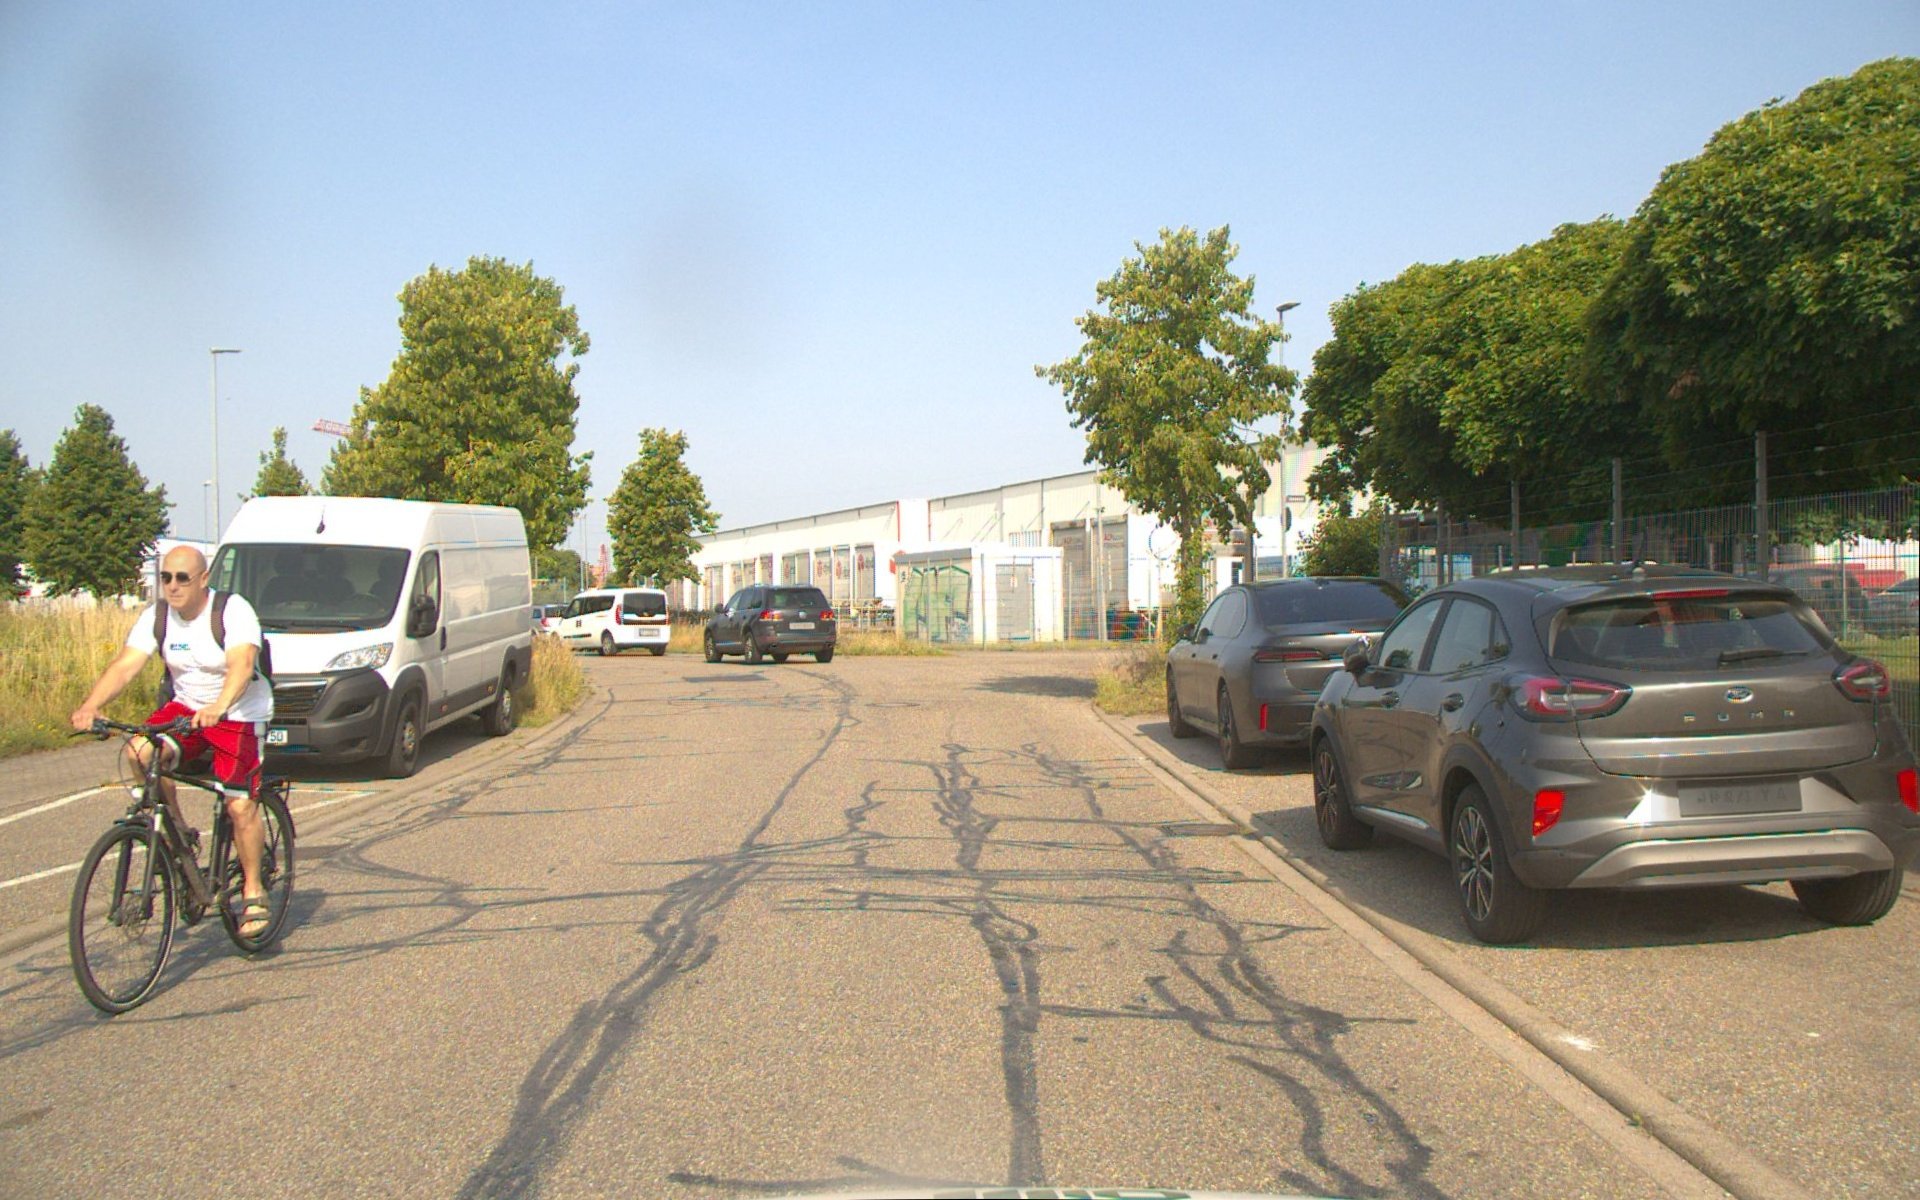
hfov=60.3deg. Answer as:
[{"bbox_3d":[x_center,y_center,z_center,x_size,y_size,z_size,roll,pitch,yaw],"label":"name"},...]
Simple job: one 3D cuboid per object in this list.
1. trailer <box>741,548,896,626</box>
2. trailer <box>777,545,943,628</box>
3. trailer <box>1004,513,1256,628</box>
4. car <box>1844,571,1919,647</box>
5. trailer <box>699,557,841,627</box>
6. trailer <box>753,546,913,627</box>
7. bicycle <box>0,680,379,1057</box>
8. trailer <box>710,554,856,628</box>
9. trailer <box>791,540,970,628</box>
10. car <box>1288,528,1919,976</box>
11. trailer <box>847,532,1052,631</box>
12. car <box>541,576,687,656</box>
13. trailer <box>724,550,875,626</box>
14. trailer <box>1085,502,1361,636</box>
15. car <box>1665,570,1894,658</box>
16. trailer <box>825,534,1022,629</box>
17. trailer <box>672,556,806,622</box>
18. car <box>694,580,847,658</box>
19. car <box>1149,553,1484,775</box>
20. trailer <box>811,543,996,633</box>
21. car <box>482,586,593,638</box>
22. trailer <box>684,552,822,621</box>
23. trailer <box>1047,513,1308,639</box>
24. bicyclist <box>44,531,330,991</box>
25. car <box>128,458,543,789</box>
[{"bbox_3d":[-7.620,-0.646,89.155,7.861,3.962,2.754,1,0,-25],"label":"trailer"},{"bbox_3d":[-5.048,-0.662,83.783,7.930,3.962,2.754,1,0,-25],"label":"trailer"},{"bbox_3d":[6.011,-0.972,58.106,8.619,3.827,2.769,0,-1,-25],"label":"trailer"},{"bbox_3d":[21.515,0.179,35.779,4.412,1.544,1.717,-1,-2,-21],"label":"car"},{"bbox_3d":[-11.278,-0.455,98.360,7.861,3.962,2.754,1,0,-25],"label":"trailer"},{"bbox_3d":[-6.602,-0.684,86.323,7.861,3.962,2.754,1,0,-25],"label":"trailer"},{"bbox_3d":[-3.158,0.985,6.829,0.701,1.141,2.219,-3,1,-1],"label":"bicycle"},{"bbox_3d":[-10.123,-0.489,94.748,7.861,3.962,2.754,1,0,-25],"label":"trailer"},{"bbox_3d":[-3.836,-0.724,80.013,8.201,3.962,2.754,1,0,-25],"label":"trailer"},{"bbox_3d":[3.019,0.561,8.215,1.842,1.601,4.112,-2,0,-1],"label":"car"},{"bbox_3d":[-0.416,-0.740,71.469,8.427,3.962,2.754,1,0,-25],"label":"trailer"},{"bbox_3d":[-9.885,0.461,47.018,2.109,2.147,4.555,-1,0,-41],"label":"car"},{"bbox_3d":[-8.922,-0.636,92.063,7.861,3.962,2.754,1,0,-25],"label":"trailer"},{"bbox_3d":[8.386,-0.961,52.542,8.419,3.962,2.756,-1,-2,-23],"label":"trailer"},{"bbox_3d":[16.470,0.233,33.243,4.196,1.654,1.865,-1,1,-23],"label":"car"},{"bbox_3d":[-1.605,-0.781,74.429,8.427,3.962,2.754,1,0,-25],"label":"trailer"},{"bbox_3d":[-13.870,-0.665,103.786,7.861,3.962,2.754,1,0,-25],"label":"trailer"},{"bbox_3d":[-4.240,0.417,36.581,1.862,1.614,4.070,-1,0,-31],"label":"car"},{"bbox_3d":[3.002,0.495,15.109,1.842,1.601,5.117,-3,0,-1],"label":"car"},{"bbox_3d":[-2.628,-0.523,77.223,8.201,3.962,2.754,1,0,-25],"label":"trailer"},{"bbox_3d":[-14.570,0.414,56.925,1.791,1.654,4.378,-3,2,-43],"label":"car"},{"bbox_3d":[-12.637,-0.805,100.953,7.861,3.962,2.754,1,0,-25],"label":"trailer"},{"bbox_3d":[7.324,-0.853,55.476,8.422,3.961,2.756,-2,0,-24],"label":"trailer"},{"bbox_3d":[-3.177,0.611,6.911,0.626,1.749,1.165,-1,0,-1],"label":"bicyclist"},{"bbox_3d":[-5.895,0.141,16.714,2.060,2.640,6.499,1,1,-4],"label":"car"}]
